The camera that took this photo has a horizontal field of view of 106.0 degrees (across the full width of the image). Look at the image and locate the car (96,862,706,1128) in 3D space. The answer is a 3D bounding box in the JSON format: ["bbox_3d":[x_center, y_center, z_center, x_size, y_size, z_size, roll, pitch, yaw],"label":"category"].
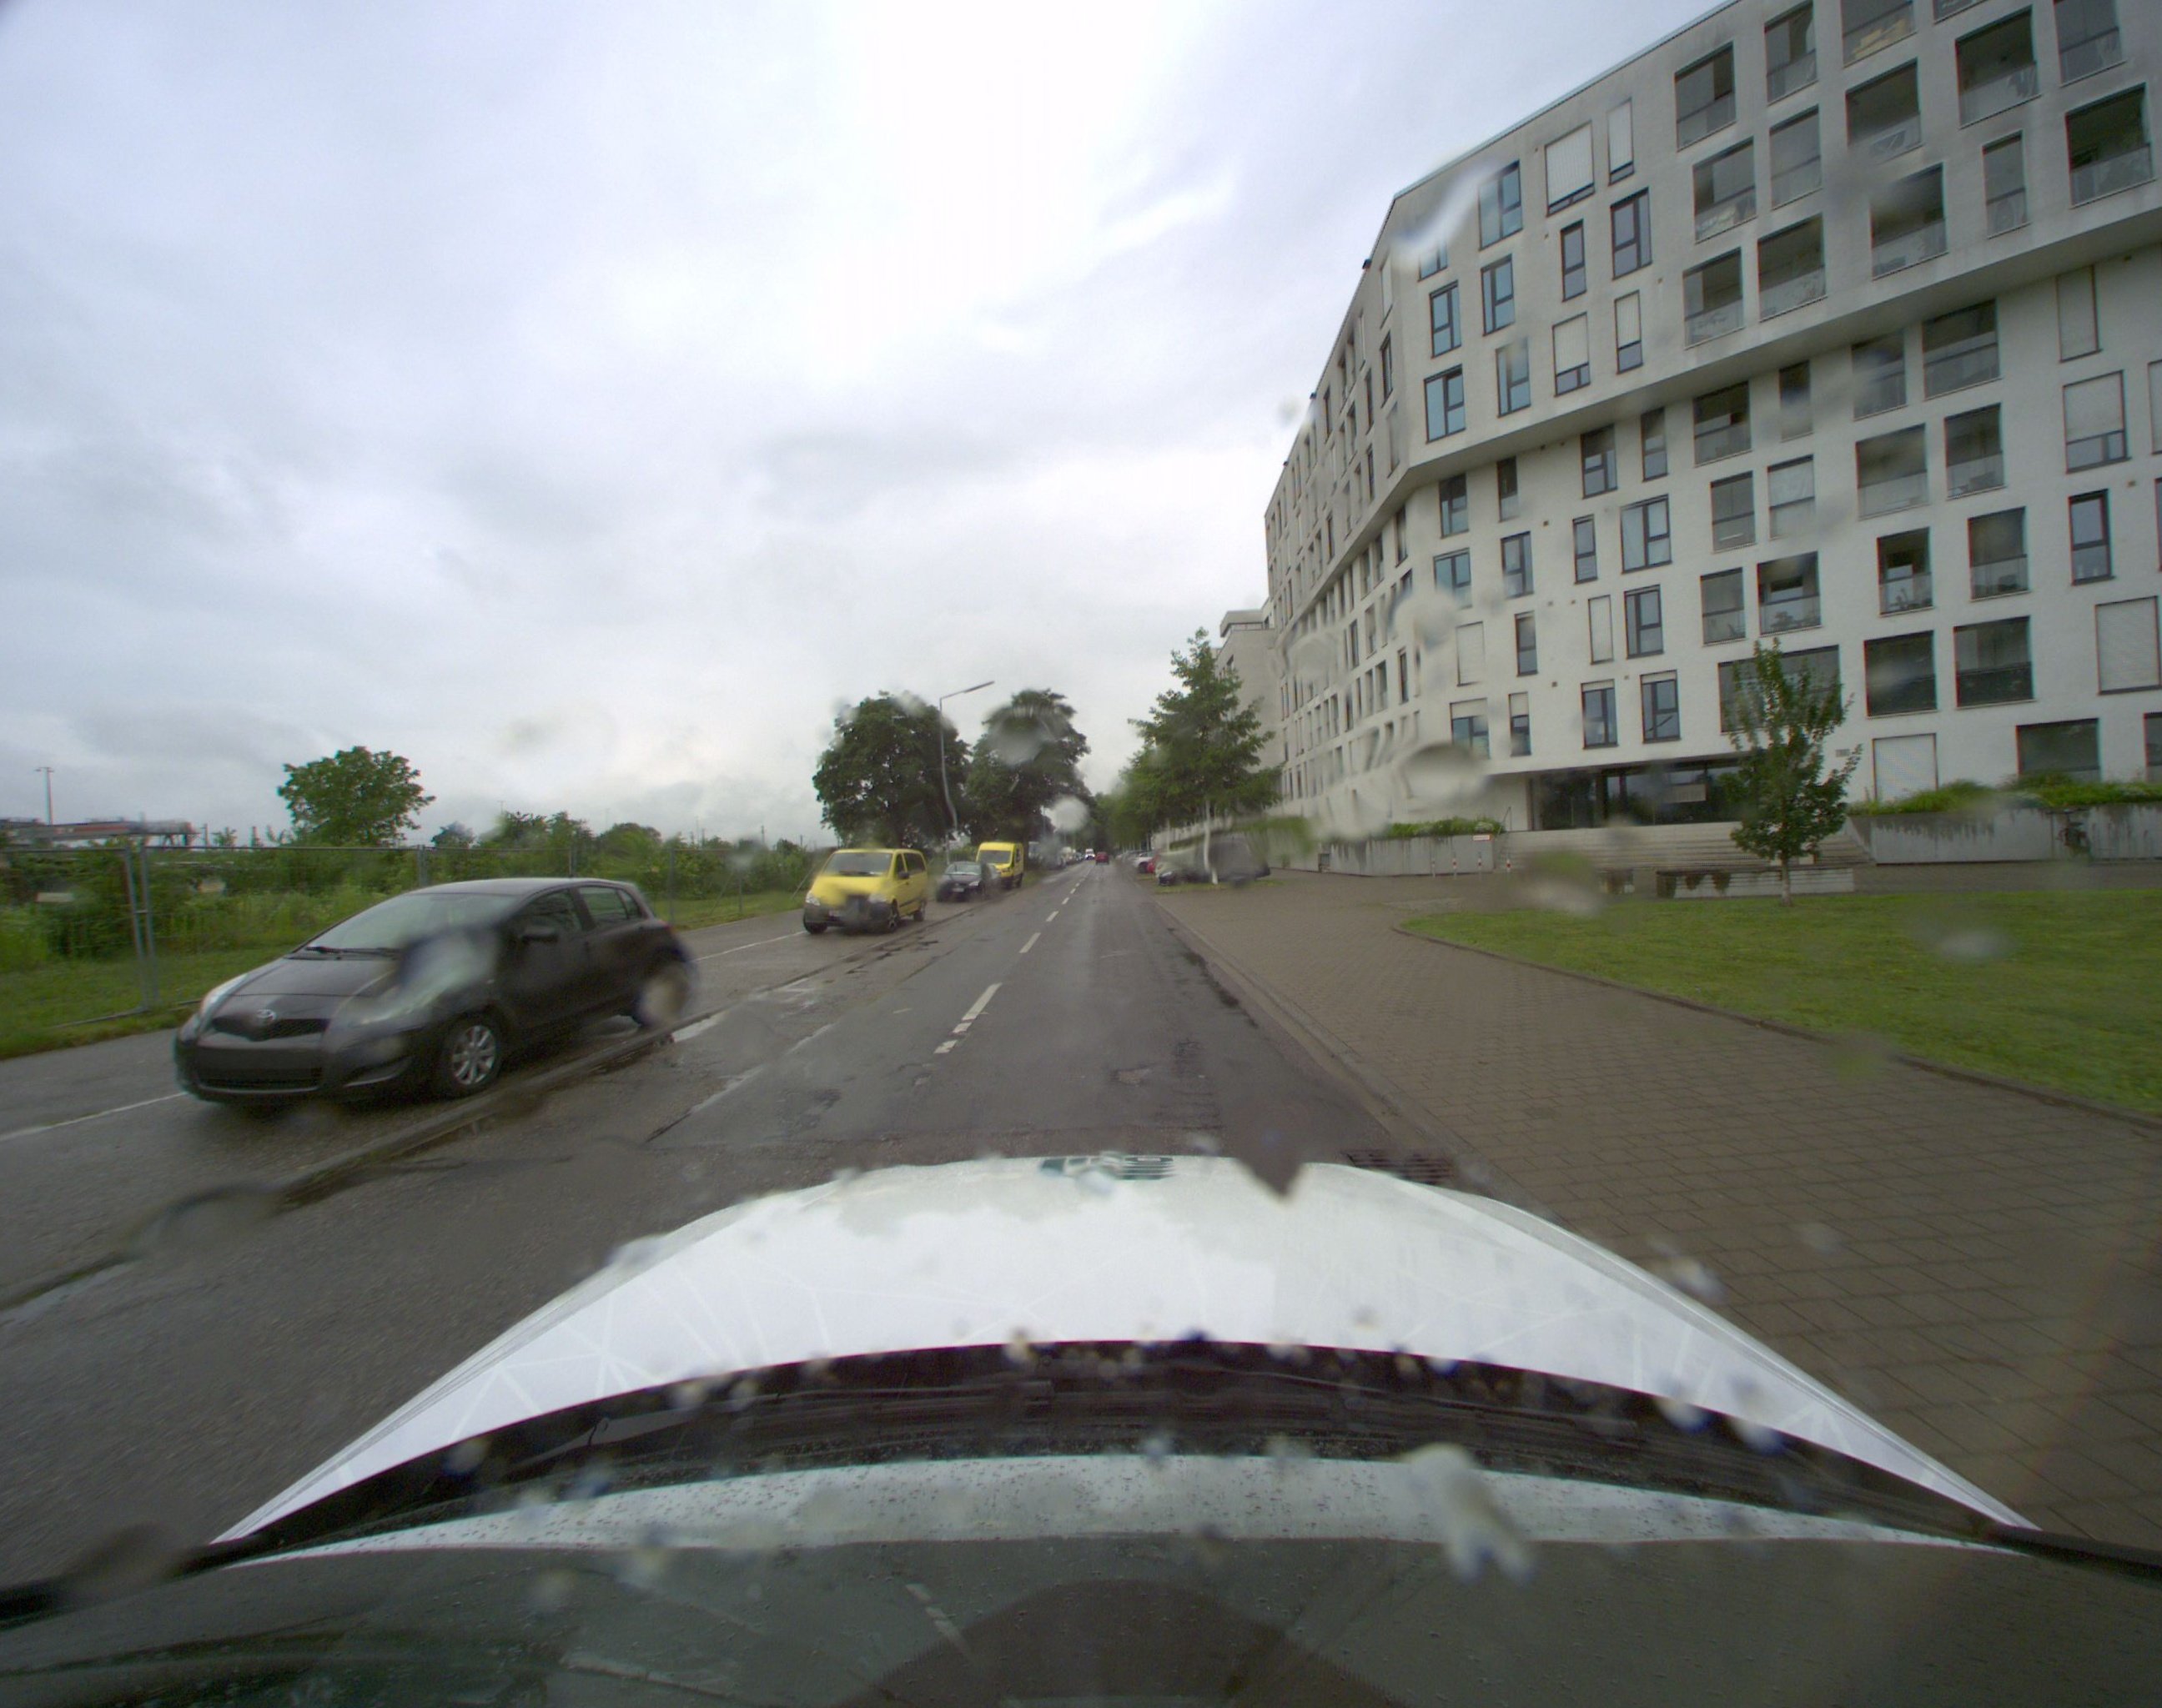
[{"bbox_3d":[-5.140,0.892,7.057,1.797,1.561,4.034,0,0,2],"label":"car"}]

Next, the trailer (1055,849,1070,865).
[{"bbox_3d":[-2.617,0.410,118.402,2.052,2.218,5.793,-1,0,0],"label":"trailer"}]

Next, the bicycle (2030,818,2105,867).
[{"bbox_3d":[22.404,-0.275,18.534,0.716,1.033,2.086,-3,0,41],"label":"bicycle"}]

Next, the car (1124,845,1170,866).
[{"bbox_3d":[6.711,0.172,83.638,4.462,1.686,1.935,-6,0,-1],"label":"car"}]

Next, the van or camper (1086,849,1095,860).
[{"bbox_3d":[2.295,0.136,193.417,1.986,2.497,7.182,-3,0,2],"label":"van or camper"}]

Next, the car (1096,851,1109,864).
[{"bbox_3d":[2.922,0.497,111.658,1.750,1.706,4.000,-2,-2,1],"label":"car"}]

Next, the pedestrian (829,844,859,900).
[{"bbox_3d":[-8.706,0.655,29.967,0.739,2.013,0.981,-1,0,2],"label":"pedestrian"}]

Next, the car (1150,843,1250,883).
[{"bbox_3d":[5.668,0.419,39.039,4.472,1.481,1.692,-5,0,1],"label":"car"}]

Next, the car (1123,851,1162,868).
[{"bbox_3d":[6.664,0.552,88.444,3.973,1.509,1.684,-4,1,1],"label":"car"}]

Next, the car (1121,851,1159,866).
[{"bbox_3d":[7.001,0.507,96.169,4.286,1.428,1.636,-4,0,-1],"label":"car"}]

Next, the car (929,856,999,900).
[{"bbox_3d":[-4.485,0.883,32.056,1.987,1.594,5.017,0,-1,0],"label":"car"}]

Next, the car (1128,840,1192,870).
[{"bbox_3d":[5.968,0.097,61.929,4.527,1.685,1.885,-7,0,-2],"label":"car"}]

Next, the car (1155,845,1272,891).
[{"bbox_3d":[5.511,0.566,34.245,4.556,1.497,1.825,-5,0,0],"label":"car"}]

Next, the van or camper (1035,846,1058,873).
[{"bbox_3d":[-3.477,0.590,83.853,2.088,2.715,7.572,0,-1,0],"label":"van or camper"}]

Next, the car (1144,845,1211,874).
[{"bbox_3d":[6.096,0.369,51.739,3.974,1.451,1.821,-5,-1,0],"label":"car"}]

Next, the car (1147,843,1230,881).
[{"bbox_3d":[5.453,0.427,41.646,3.972,1.555,1.635,-5,0,1],"label":"car"}]

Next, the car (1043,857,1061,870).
[{"bbox_3d":[-3.377,1.075,96.183,1.767,1.502,4.830,0,0,2],"label":"car"}]

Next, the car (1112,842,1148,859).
[{"bbox_3d":[6.654,-0.461,110.603,4.608,2.019,1.856,-2,0,-3],"label":"car"}]

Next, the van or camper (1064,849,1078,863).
[{"bbox_3d":[-1.682,0.328,144.905,2.181,2.461,6.379,-1,0,2],"label":"van or camper"}]

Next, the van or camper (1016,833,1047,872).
[{"bbox_3d":[-4.102,-0.066,68.290,2.087,3.094,6.423,0,-1,0],"label":"van or camper"}]

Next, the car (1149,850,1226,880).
[{"bbox_3d":[5.777,0.597,44.280,3.945,1.474,1.591,-1,0,-1],"label":"car"}]

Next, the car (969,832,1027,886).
[{"bbox_3d":[-4.356,0.261,43.857,2.182,2.694,6.086,0,0,3],"label":"car"}]

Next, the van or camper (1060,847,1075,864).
[{"bbox_3d":[-2.183,0.261,132.433,1.986,2.762,7.901,-1,0,2],"label":"van or camper"}]

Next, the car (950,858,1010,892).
[{"bbox_3d":[-4.541,0.917,37.393,2.003,1.434,5.340,1,-1,1],"label":"car"}]

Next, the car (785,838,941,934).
[{"bbox_3d":[-5.005,0.675,19.761,2.010,1.956,6.066,-1,0,1],"label":"car"}]
